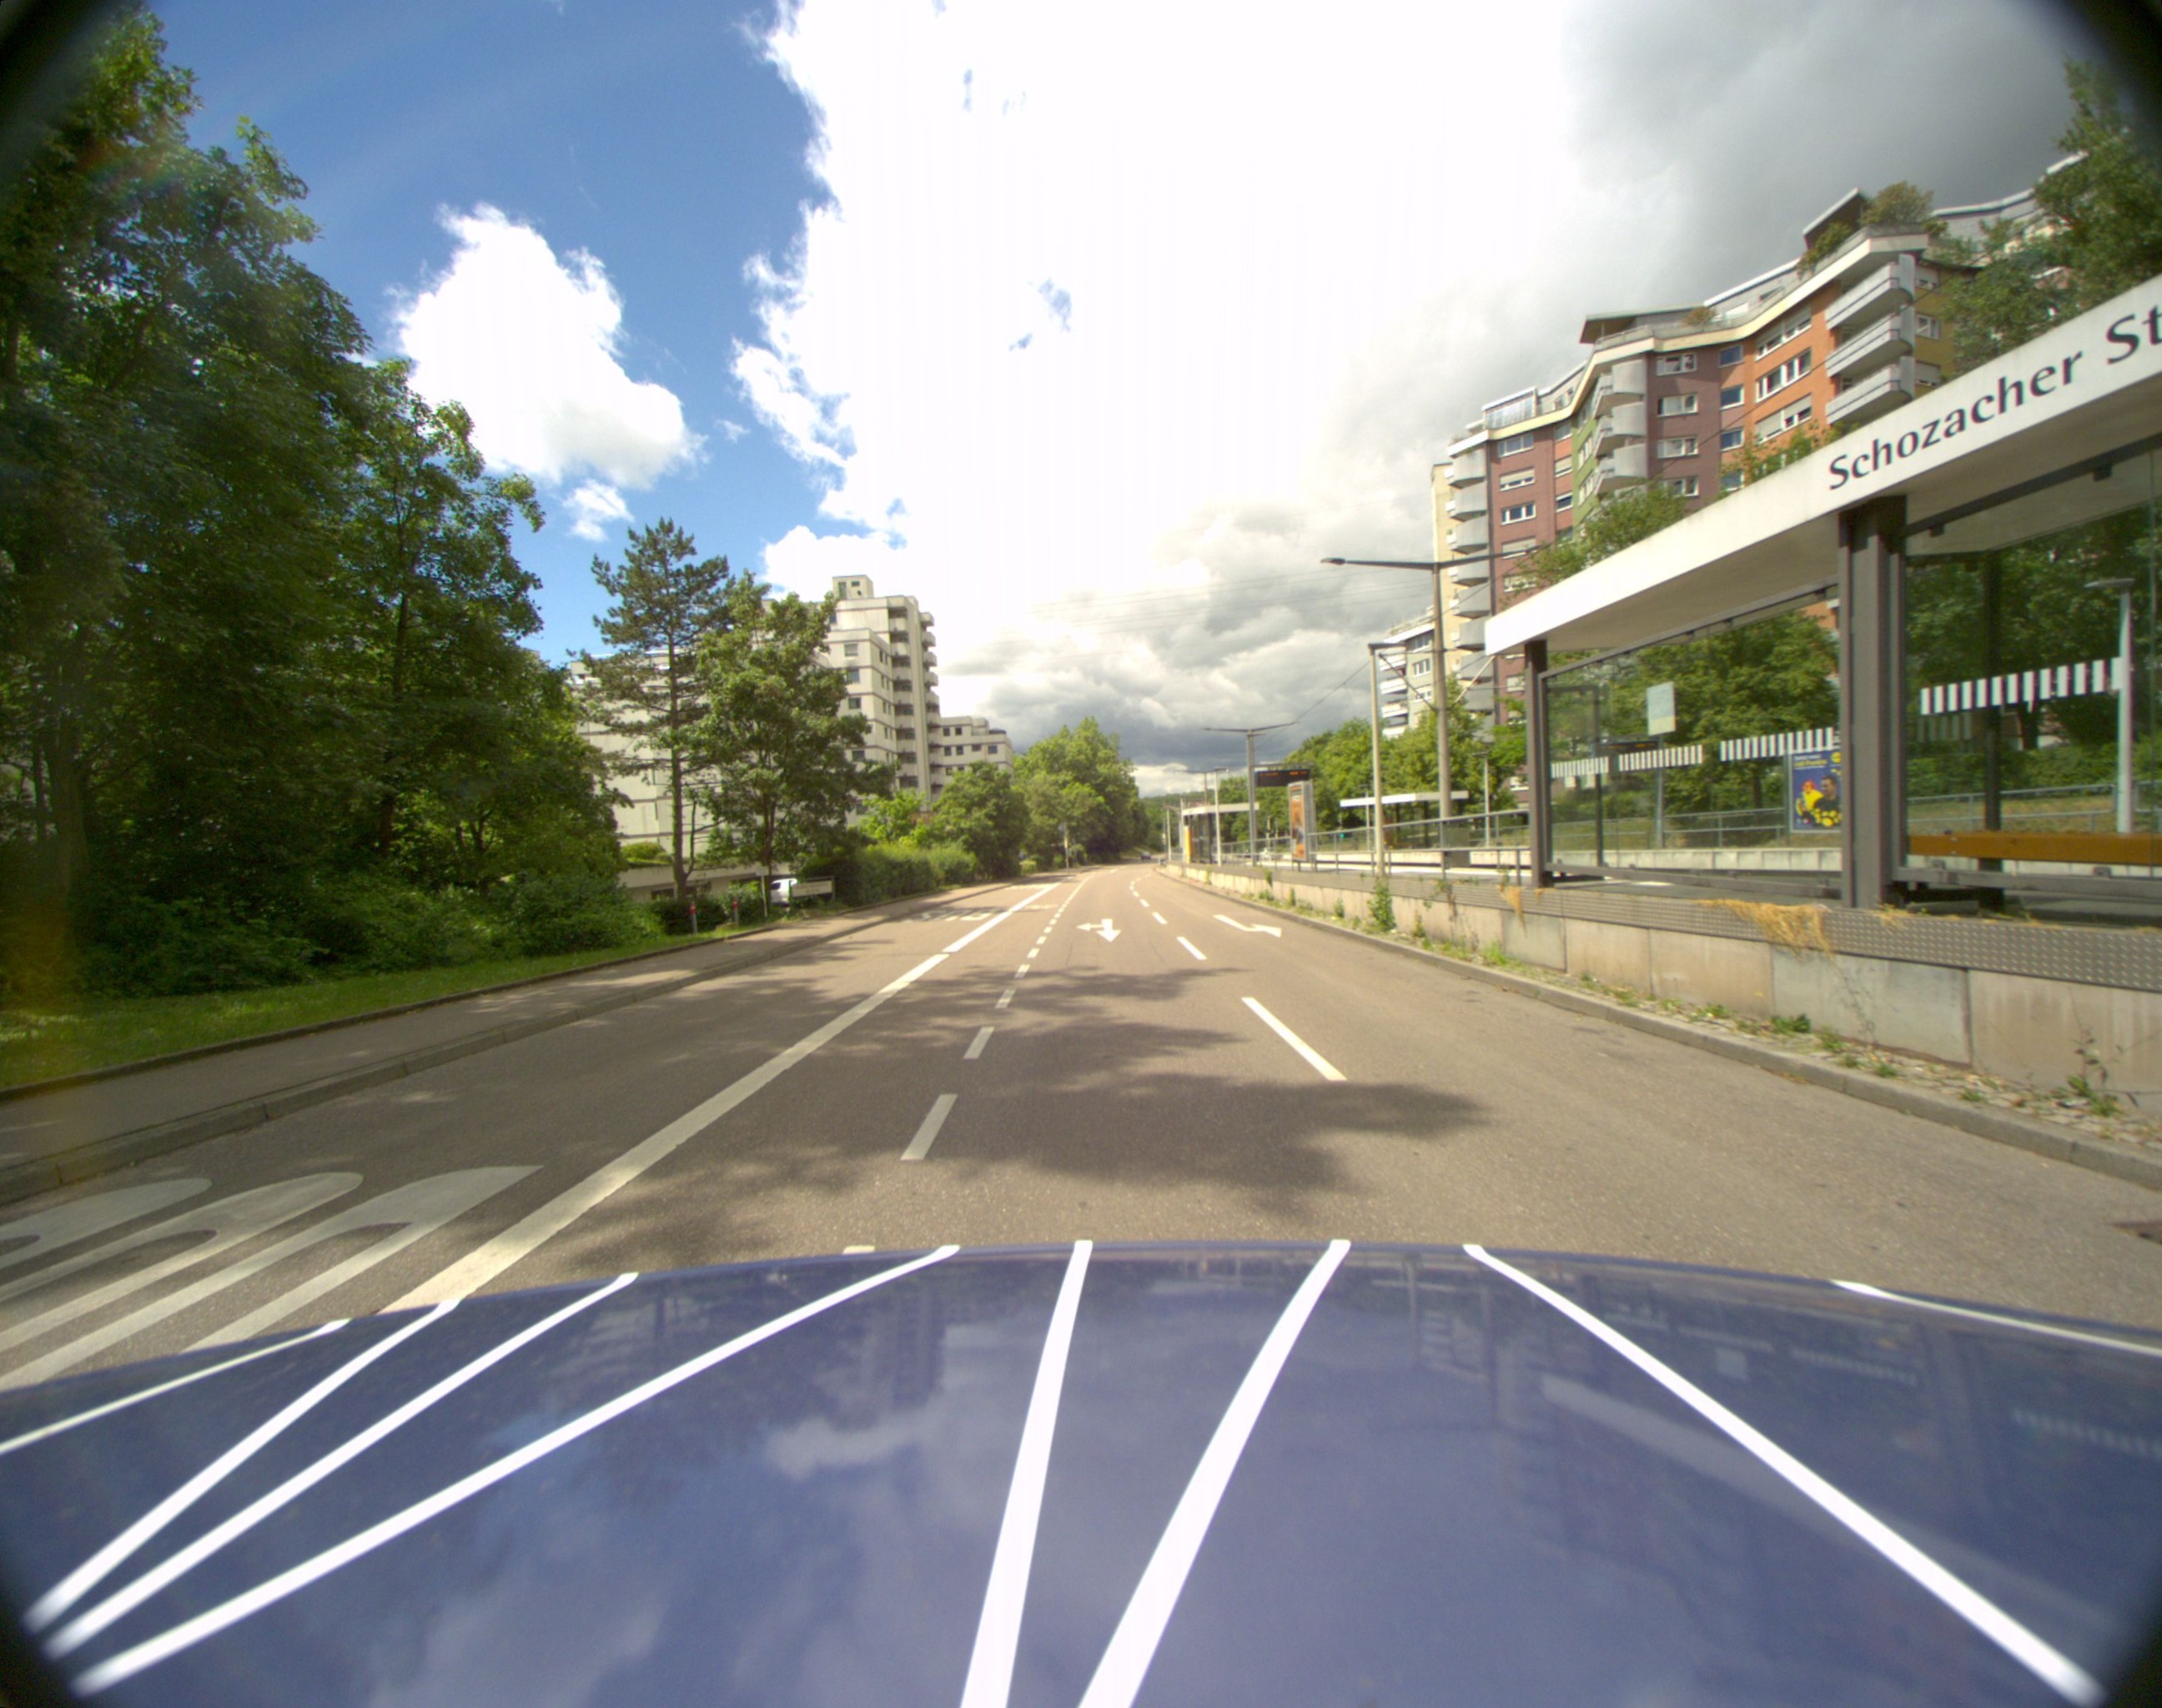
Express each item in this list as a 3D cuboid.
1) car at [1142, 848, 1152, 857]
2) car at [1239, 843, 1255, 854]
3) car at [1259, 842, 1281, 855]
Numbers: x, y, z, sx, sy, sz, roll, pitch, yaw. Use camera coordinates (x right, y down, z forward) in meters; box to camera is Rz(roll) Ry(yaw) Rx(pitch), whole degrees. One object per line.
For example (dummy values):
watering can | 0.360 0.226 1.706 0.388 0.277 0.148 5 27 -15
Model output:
car | 11.713 -0.258 134.294 1.736 1.477 3.817 -2 1 5
car | 23.702 -0.816 108.674 1.658 1.503 3.738 -2 0 5
car | 22.837 -0.662 92.011 1.658 1.410 4.000 -2 0 1
